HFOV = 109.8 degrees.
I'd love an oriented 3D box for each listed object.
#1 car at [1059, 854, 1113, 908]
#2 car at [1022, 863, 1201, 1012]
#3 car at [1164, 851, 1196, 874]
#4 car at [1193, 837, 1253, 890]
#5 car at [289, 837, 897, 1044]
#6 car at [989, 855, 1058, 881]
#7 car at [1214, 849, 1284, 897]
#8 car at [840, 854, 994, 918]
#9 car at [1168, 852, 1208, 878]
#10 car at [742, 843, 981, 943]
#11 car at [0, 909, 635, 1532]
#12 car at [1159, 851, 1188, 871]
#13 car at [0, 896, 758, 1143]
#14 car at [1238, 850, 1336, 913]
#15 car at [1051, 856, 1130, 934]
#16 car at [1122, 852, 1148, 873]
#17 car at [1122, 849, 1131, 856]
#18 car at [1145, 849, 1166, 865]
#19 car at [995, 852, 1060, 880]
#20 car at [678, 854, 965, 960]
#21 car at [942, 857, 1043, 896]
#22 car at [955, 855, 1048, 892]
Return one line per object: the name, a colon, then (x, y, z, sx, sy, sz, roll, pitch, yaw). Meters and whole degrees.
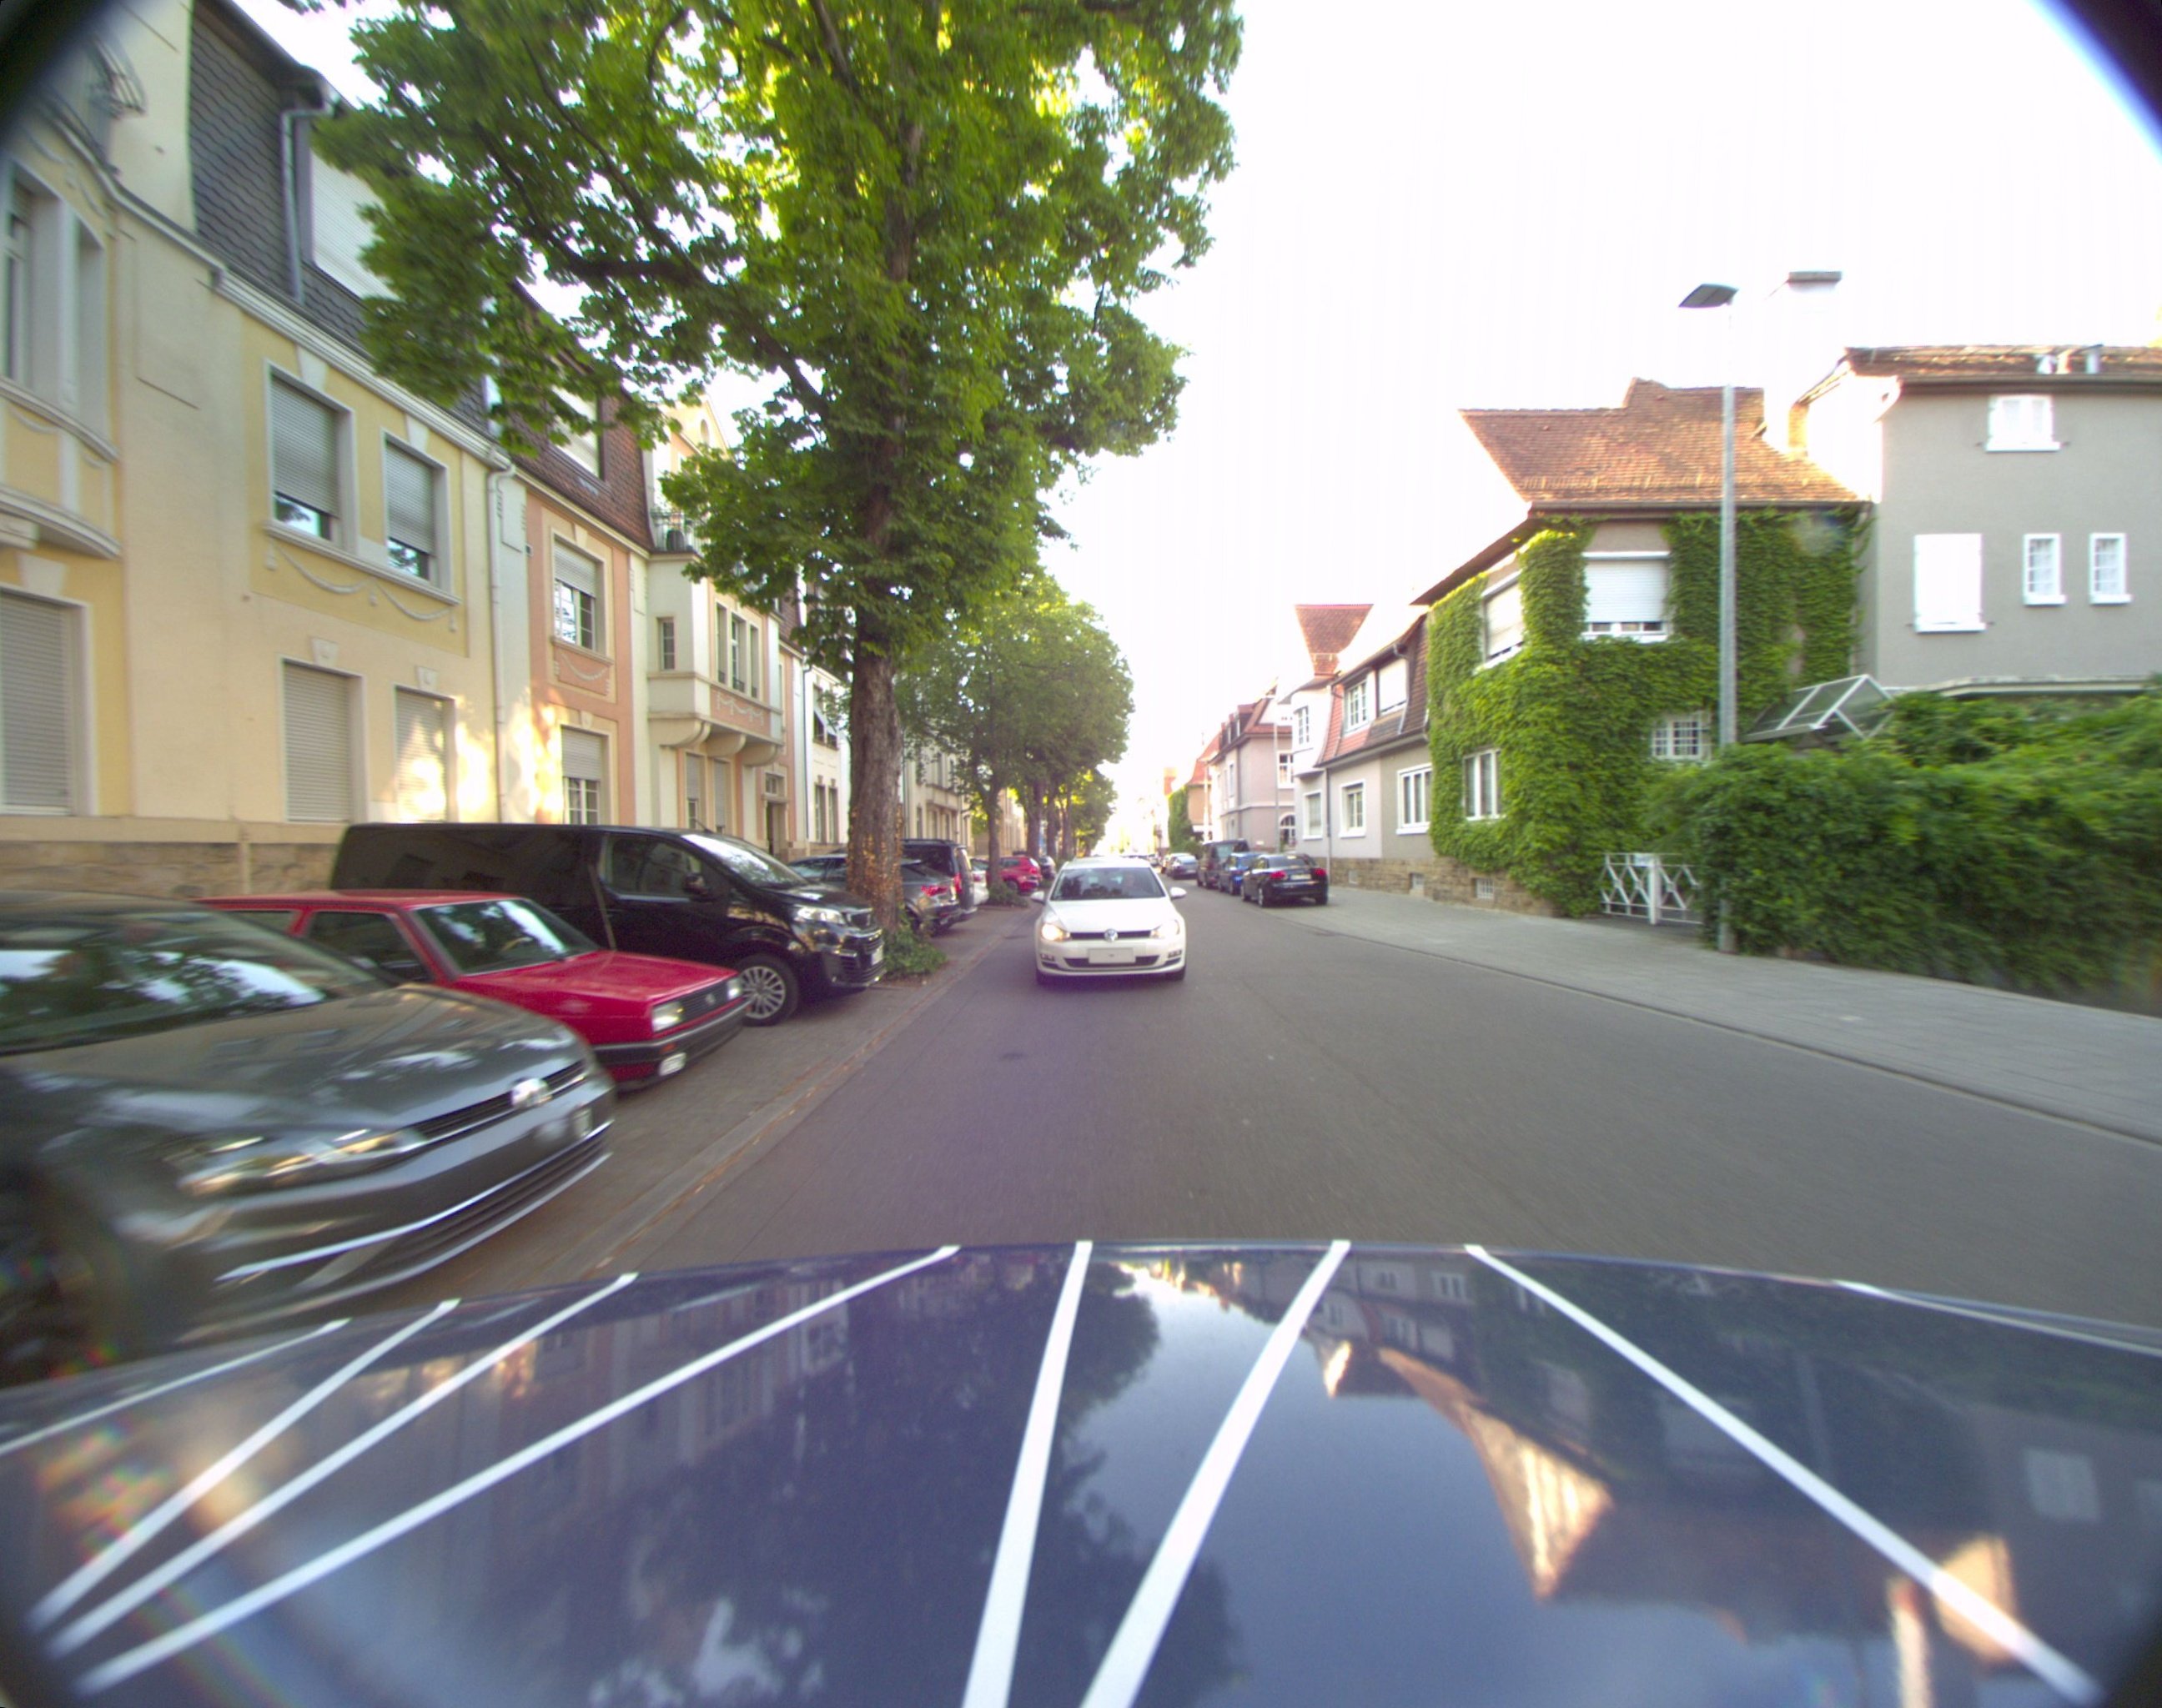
car: (0.211, 0.801, 24.108, 1.560, 1.546, 3.739, 1, 0, 2)
car: (0.327, 0.888, 9.897, 1.799, 1.420, 4.024, -2, 0, 0)
car: (6.381, 0.536, 49.147, 1.541, 1.363, 3.946, -3, 0, 1)
car: (5.931, 0.336, 32.206, 1.719, 1.961, 4.311, -4, 1, 1)
car: (-4.490, 0.762, 7.654, 4.834, 1.814, 1.880, 1, 1, -2)
car: (-3.085, 0.740, 41.213, 3.621, 1.395, 1.538, 0, 1, 2)
car: (5.933, 0.624, 27.211, 1.610, 1.455, 4.024, -4, 1, 1)
car: (-4.114, 0.788, 19.427, 3.623, 1.541, 1.537, 1, 1, -2)
car: (6.103, 0.599, 43.663, 1.719, 1.363, 4.334, -3, 0, 1)
car: (-4.117, 0.711, 14.726, 4.172, 1.816, 1.594, 1, 1, -2)
car: (-4.108, 0.980, 2.702, 4.059, 1.414, 1.628, 1, 1, -1)
car: (6.910, 0.494, 57.330, 1.719, 1.363, 3.946, -3, 0, 1)
car: (-4.522, 1.018, 5.225, 3.921, 1.313, 1.558, 1, 1, -1)
car: (5.632, 0.689, 21.248, 1.751, 1.420, 4.024, -4, 1, 3)
car: (0.273, 0.844, 17.514, 1.599, 1.546, 4.000, 1, 0, 2)
car: (4.038, 0.599, 57.283, 1.620, 1.493, 3.591, 1, 0, -1)
car: (9.318, -0.290, 156.315, 1.643, 1.461, 3.690, -3, 0, 2)
car: (7.318, 0.247, 75.145, 1.643, 1.461, 3.946, -3, 0, 1)
car: (-3.071, 0.695, 43.992, 3.621, 1.555, 1.538, 0, 1, 2)
car: (-4.117, 0.827, 12.541, 4.172, 1.583, 1.594, 1, 1, -2)
car: (-3.310, 0.822, 28.928, 3.621, 1.395, 1.538, 1, 1, 2)
car: (-3.244, 0.795, 31.459, 3.621, 1.456, 1.538, 1, 1, 2)
